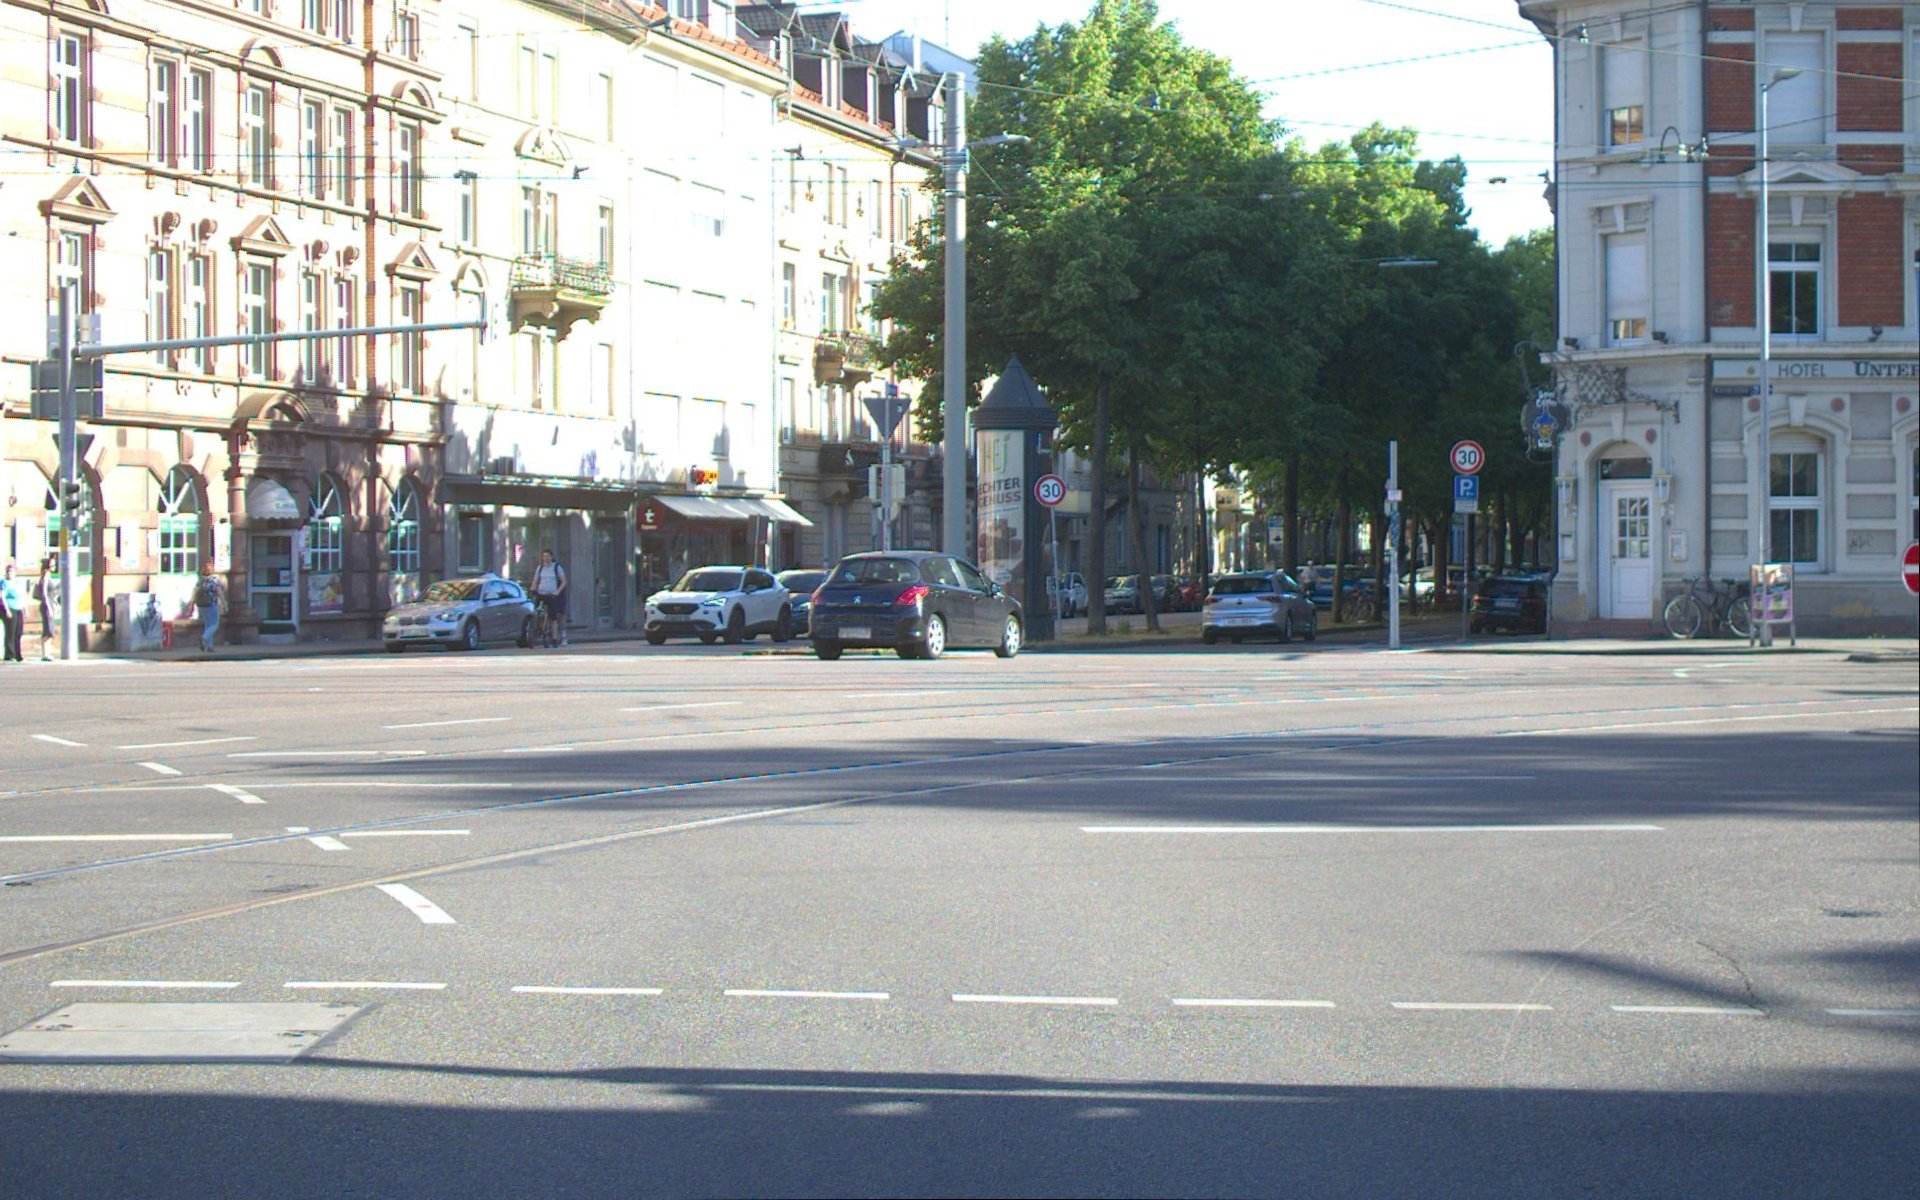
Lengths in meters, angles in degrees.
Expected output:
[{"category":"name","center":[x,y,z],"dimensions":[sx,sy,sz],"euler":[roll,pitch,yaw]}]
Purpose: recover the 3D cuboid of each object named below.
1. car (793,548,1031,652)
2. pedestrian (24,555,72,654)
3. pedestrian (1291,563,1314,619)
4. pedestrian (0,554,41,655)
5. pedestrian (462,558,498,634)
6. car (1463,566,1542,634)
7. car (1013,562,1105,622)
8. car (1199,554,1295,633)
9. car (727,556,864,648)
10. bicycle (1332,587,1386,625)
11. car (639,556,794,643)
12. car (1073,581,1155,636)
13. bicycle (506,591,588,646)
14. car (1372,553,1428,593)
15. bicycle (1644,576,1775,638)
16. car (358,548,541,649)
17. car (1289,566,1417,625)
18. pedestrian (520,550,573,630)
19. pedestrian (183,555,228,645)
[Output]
[{"category":"car","center":[-0.612,-0.006,47.623],"dimensions":[1.756,1.357,3.850],"euler":[1,1,26]},{"category":"pedestrian","center":[-15.137,0.066,57.085],"dimensions":[0.633,1.628,0.701],"euler":[1,0,-4]},{"category":"pedestrian","center":[11.092,-0.290,111.352],"dimensions":[0.640,1.790,0.490],"euler":[1,0,12]},{"category":"pedestrian","center":[-15.343,0.074,55.910],"dimensions":[0.633,1.628,0.701],"euler":[1,0,-4]},{"category":"pedestrian","center":[-10.445,-0.090,74.806],"dimensions":[0.544,1.626,0.706],"euler":[1,0,13]},{"category":"car","center":[13.056,-0.015,82.598],"dimensions":[1.692,1.559,3.839],"euler":[1,1,11]},{"category":"car","center":[3.269,-0.275,112.709],"dimensions":[1.995,1.897,3.997],"euler":[1,1,17]},{"category":"car","center":[5.837,-0.138,69.570],"dimensions":[1.772,1.525,3.999],"euler":[1,1,7]},{"category":"car","center":[-3.486,0.020,73.654],"dimensions":[1.994,1.897,3.998],"euler":[1,1,11]},{"category":"bicycle","center":[11.494,0.172,99.076],"dimensions":[0.626,1.081,1.703],"euler":[1,1,-31]},{"category":"car","center":[-4.721,-0.031,67.211],"dimensions":[1.994,1.612,3.998],"euler":[1,1,11]},{"category":"car","center":[5.512,0.299,122.525],"dimensions":[1.995,1.897,3.997],"euler":[1,1,17]},{"category":"bicycle","center":[-7.825,0.340,65.292],"dimensions":[0.763,1.004,2.395],"euler":[1,1,13]},{"category":"car","center":[17.251,-1.064,134.659],"dimensions":[1.560,1.508,3.653],"euler":[1,1,17]},{"category":"bicycle","center":[12.441,0.112,57.098],"dimensions":[2.049,0.994,0.630],"euler":[1,0,3]},{"category":"car","center":[-9.923,-0.042,67.110],"dimensions":[1.995,1.897,3.997],"euler":[1,1,17]},{"category":"car","center":[13.149,-0.160,114.979],"dimensions":[3.990,1.897,1.998],"euler":[1,0,16]},{"category":"pedestrian","center":[-7.839,-0.187,65.213],"dimensions":[0.821,1.507,0.598],"euler":[1,0,15]},{"category":"pedestrian","center":[-13.895,-0.004,63.327],"dimensions":[0.544,1.626,0.706],"euler":[1,0,13]}]
